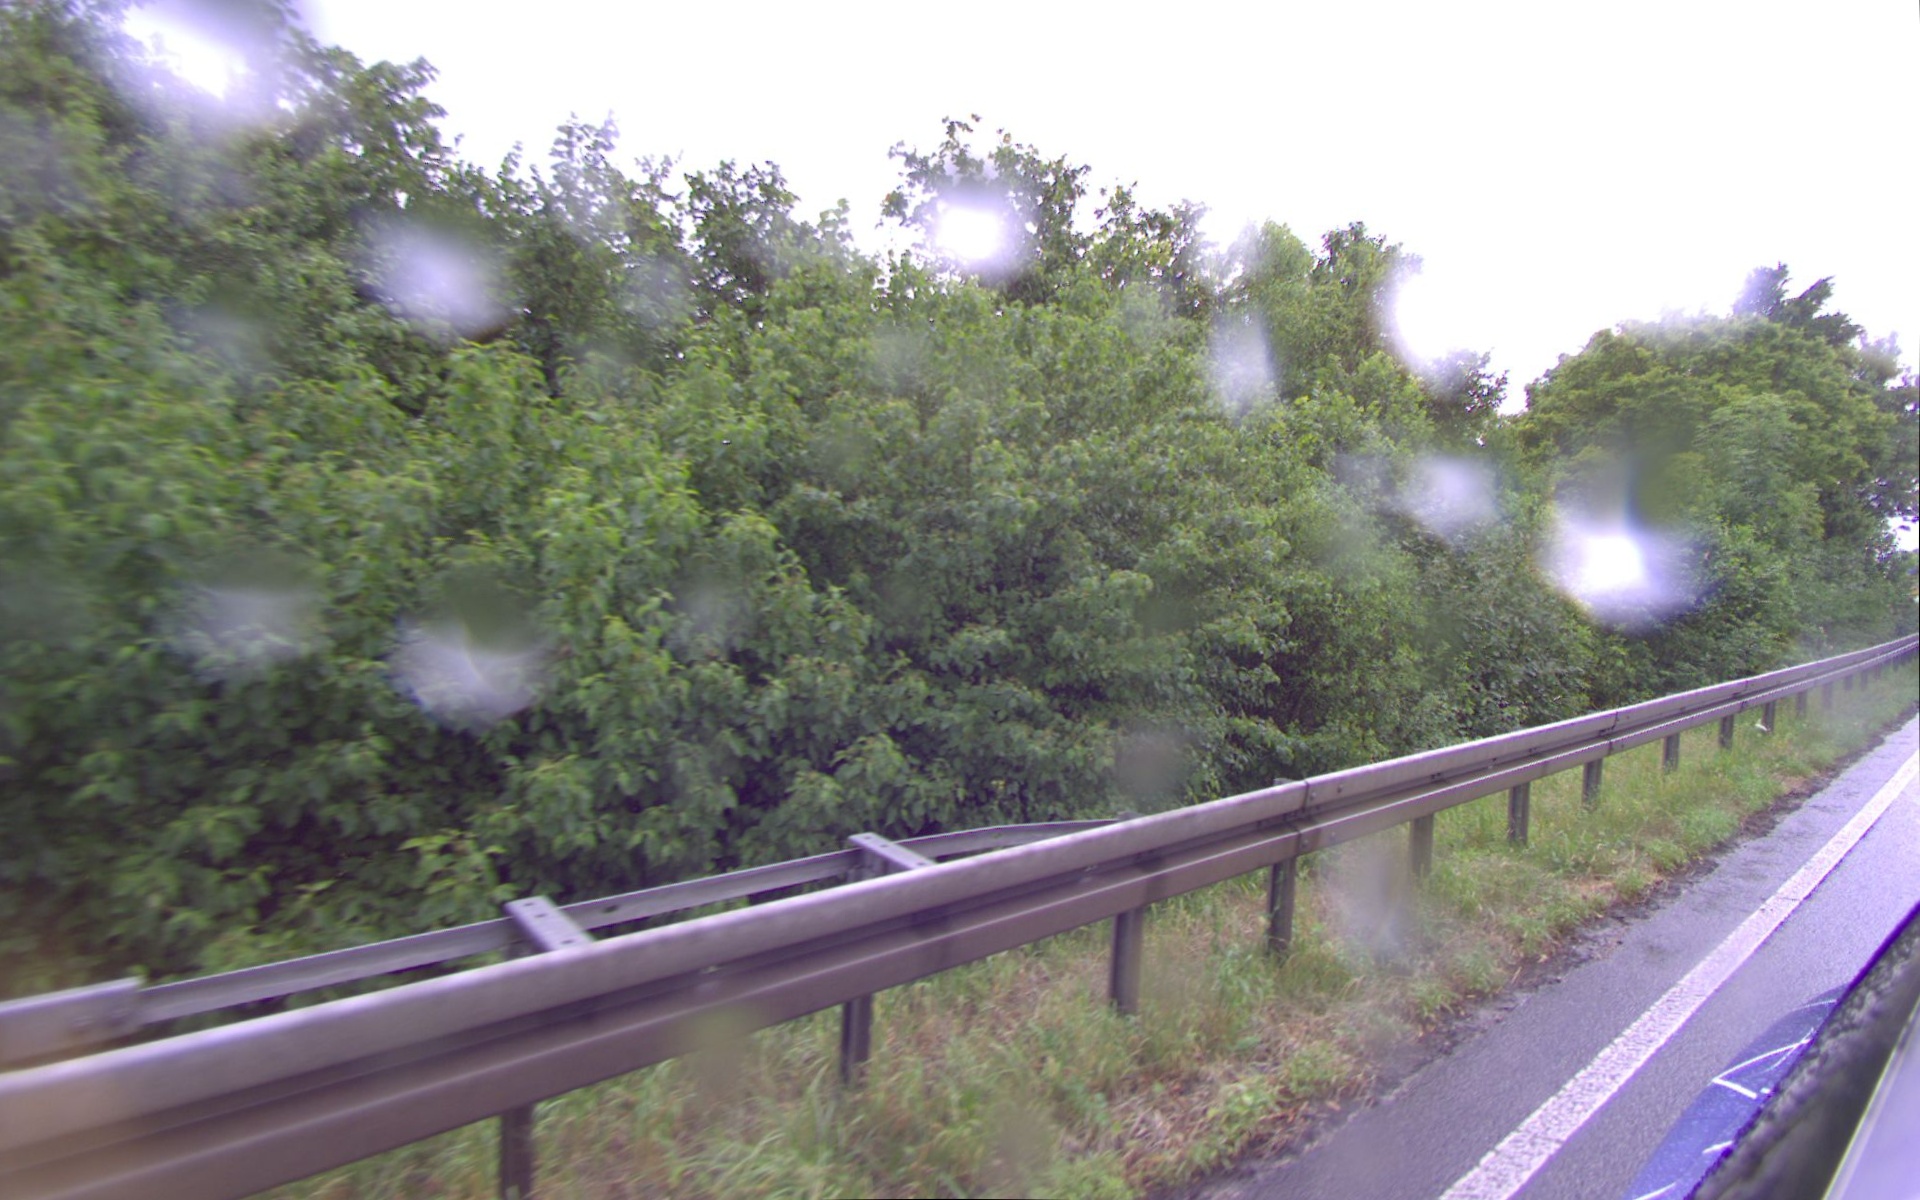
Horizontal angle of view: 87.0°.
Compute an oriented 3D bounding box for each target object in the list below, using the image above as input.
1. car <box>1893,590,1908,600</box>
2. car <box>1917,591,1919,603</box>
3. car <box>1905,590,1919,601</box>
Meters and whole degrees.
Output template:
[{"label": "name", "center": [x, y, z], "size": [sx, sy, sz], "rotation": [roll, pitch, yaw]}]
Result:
[{"label": "car", "center": [138.768, -0.687, 149.344], "size": [1.528, 1.486, 3.030], "rotation": [1, 0, 40]}, {"label": "car", "center": [120.106, -0.423, 125.765], "size": [1.528, 1.486, 3.030], "rotation": [1, 0, 40]}, {"label": "car", "center": [130.957, -0.574, 138.954], "size": [1.527, 1.486, 3.031], "rotation": [1, 0, 39]}]
